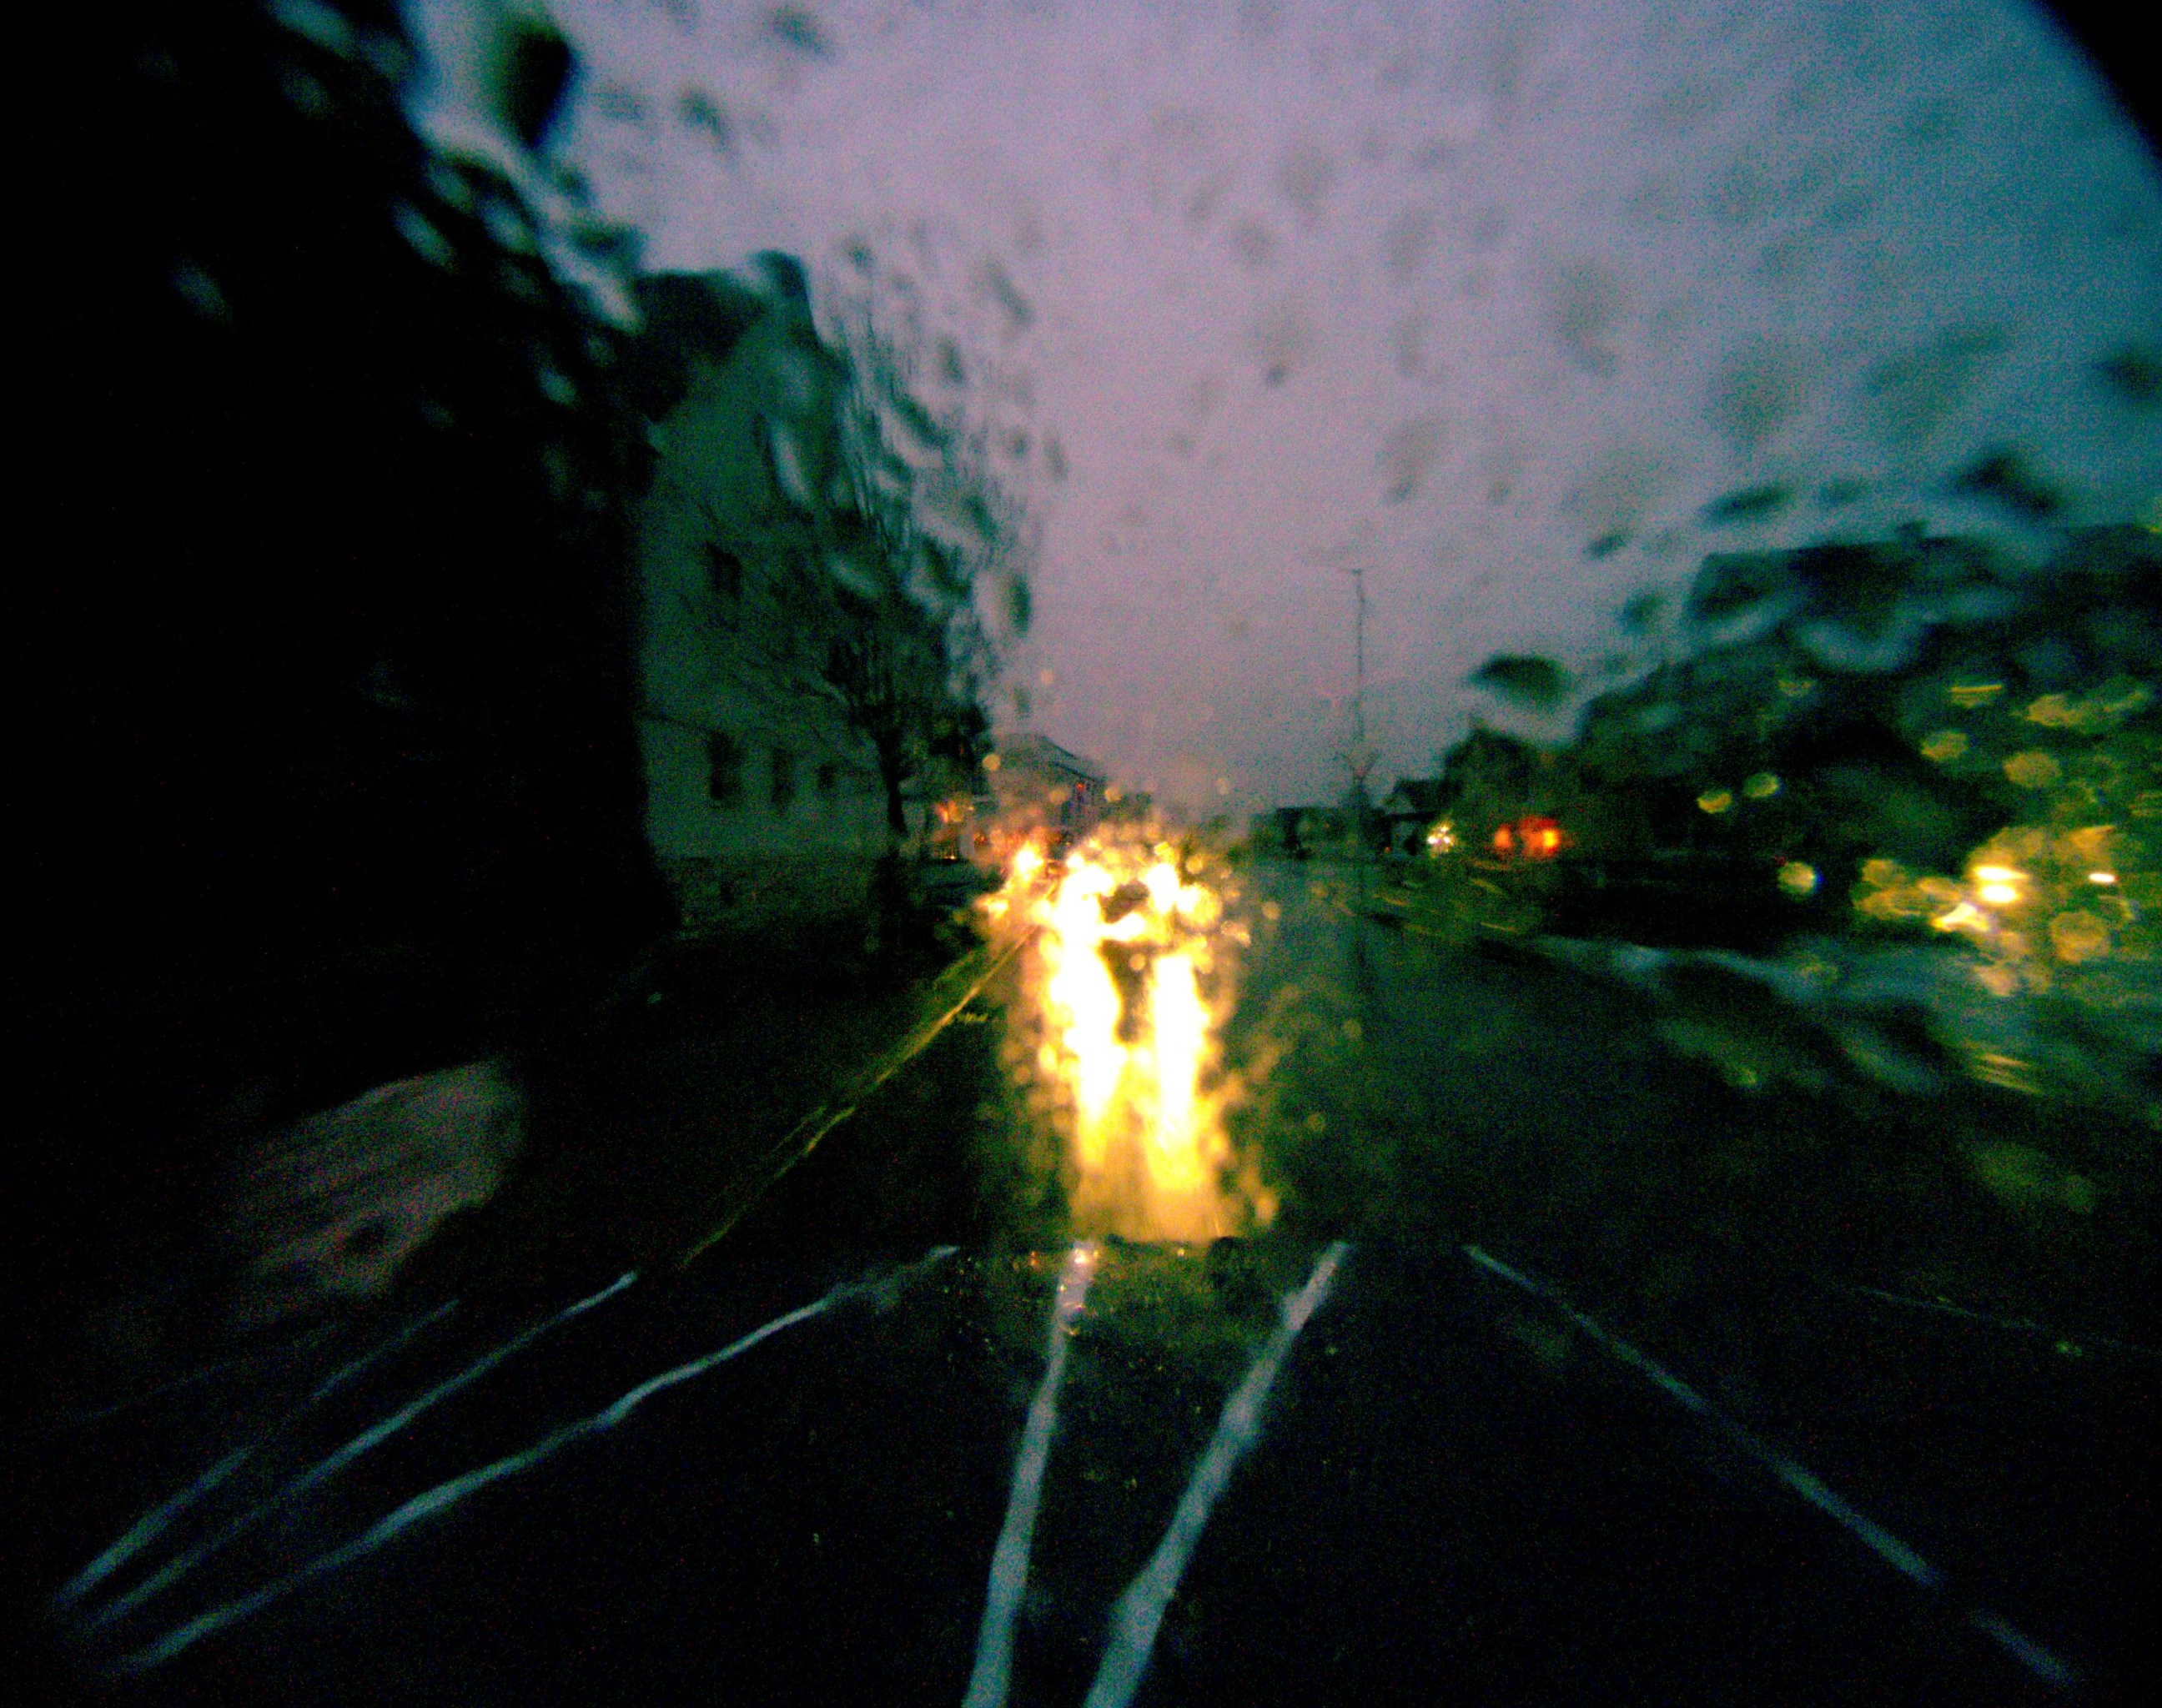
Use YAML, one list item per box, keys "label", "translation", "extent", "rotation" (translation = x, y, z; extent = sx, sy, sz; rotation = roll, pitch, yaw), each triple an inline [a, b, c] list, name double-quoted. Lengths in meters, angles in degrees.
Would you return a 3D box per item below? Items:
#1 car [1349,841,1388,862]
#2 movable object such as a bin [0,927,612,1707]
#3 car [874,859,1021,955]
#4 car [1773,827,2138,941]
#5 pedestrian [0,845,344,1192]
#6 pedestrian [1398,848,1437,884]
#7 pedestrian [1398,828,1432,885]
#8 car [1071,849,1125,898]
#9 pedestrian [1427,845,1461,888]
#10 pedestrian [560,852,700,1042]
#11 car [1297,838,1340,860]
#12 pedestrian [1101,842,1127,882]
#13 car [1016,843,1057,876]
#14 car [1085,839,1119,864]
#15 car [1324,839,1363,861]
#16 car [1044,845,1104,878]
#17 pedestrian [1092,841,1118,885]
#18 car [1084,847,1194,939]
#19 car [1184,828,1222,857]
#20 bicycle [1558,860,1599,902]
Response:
- label: "car"
  translation: [28.986, -0.308, 76.682]
  extent: [1.936, 1.871, 3.866]
  rotation: [-3, 3, -11]
- label: "movable object such as a bin"
  translation: [-2.156, 0.968, 1.790]
  extent: [1.131, 1.412, 1.418]
  rotation: [2, 0, 4]
- label: "car"
  translation: [-2.340, 0.877, 14.436]
  extent: [1.732, 1.456, 4.200]
  rotation: [2, 0, 4]
- label: "car"
  translation: [15.413, 0.440, 13.889]
  extent: [1.758, 1.691, 4.567]
  rotation: [1, 0, 8]
- label: "pedestrian"
  translation: [-5.006, 0.794, 4.227]
  extent: [0.748, 1.669, 1.053]
  rotation: [1, 1, 8]
- label: "pedestrian"
  translation: [11.144, 0.406, 25.201]
  extent: [0.990, 1.151, 0.903]
  rotation: [-2, -1, 11]
- label: "pedestrian"
  translation: [10.483, 0.080, 23.868]
  extent: [0.749, 1.732, 0.687]
  rotation: [-2, 1, 2]
- label: "car"
  translation: [0.630, 0.639, 27.794]
  extent: [1.762, 1.471, 4.018]
  rotation: [-2, 2, 1]
- label: "pedestrian"
  translation: [11.003, 0.377, 23.028]
  extent: [0.687, 1.264, 0.750]
  rotation: [-2, 1, 7]
- label: "pedestrian"
  translation: [-4.242, 0.831, 7.222]
  extent: [0.530, 1.644, 0.954]
  rotation: [-2, 3, 12]
- label: "car"
  translation: [23.684, -0.534, 75.867]
  extent: [1.974, 1.984, 3.991]
  rotation: [-4, 3, -24]
- label: "pedestrian"
  translation: [1.476, 0.353, 34.017]
  extent: [0.769, 1.752, 0.789]
  rotation: [-6, 5, -45]
- label: "car"
  translation: [-2.800, 0.295, 46.630]
  extent: [1.827, 1.736, 3.994]
  rotation: [-3, 3, -13]
- label: "car"
  translation: [1.473, -0.232, 52.900]
  extent: [2.171, 1.469, 3.998]
  rotation: [-2, 3, 2]
- label: "car"
  translation: [26.319, -0.451, 76.377]
  extent: [1.926, 2.003, 3.966]
  rotation: [-3, 3, -11]
- label: "car"
  translation: [-0.451, 0.343, 41.513]
  extent: [2.030, 1.471, 4.549]
  rotation: [-3, 3, -17]
- label: "pedestrian"
  translation: [1.060, 0.378, 33.288]
  extent: [0.711, 1.856, 0.789]
  rotation: [-6, 5, -45]
- label: "car"
  translation: [1.057, 0.683, 15.845]
  extent: [1.958, 1.576, 4.109]
  rotation: [-2, 1, 0]
- label: "car"
  translation: [9.372, -0.891, 57.974]
  extent: [2.055, 1.976, 4.541]
  rotation: [-1, 3, 19]
- label: "bicycle"
  translation: [12.899, 0.673, 19.739]
  extent: [0.470, 1.004, 1.741]
  rotation: [0, 1, 19]
